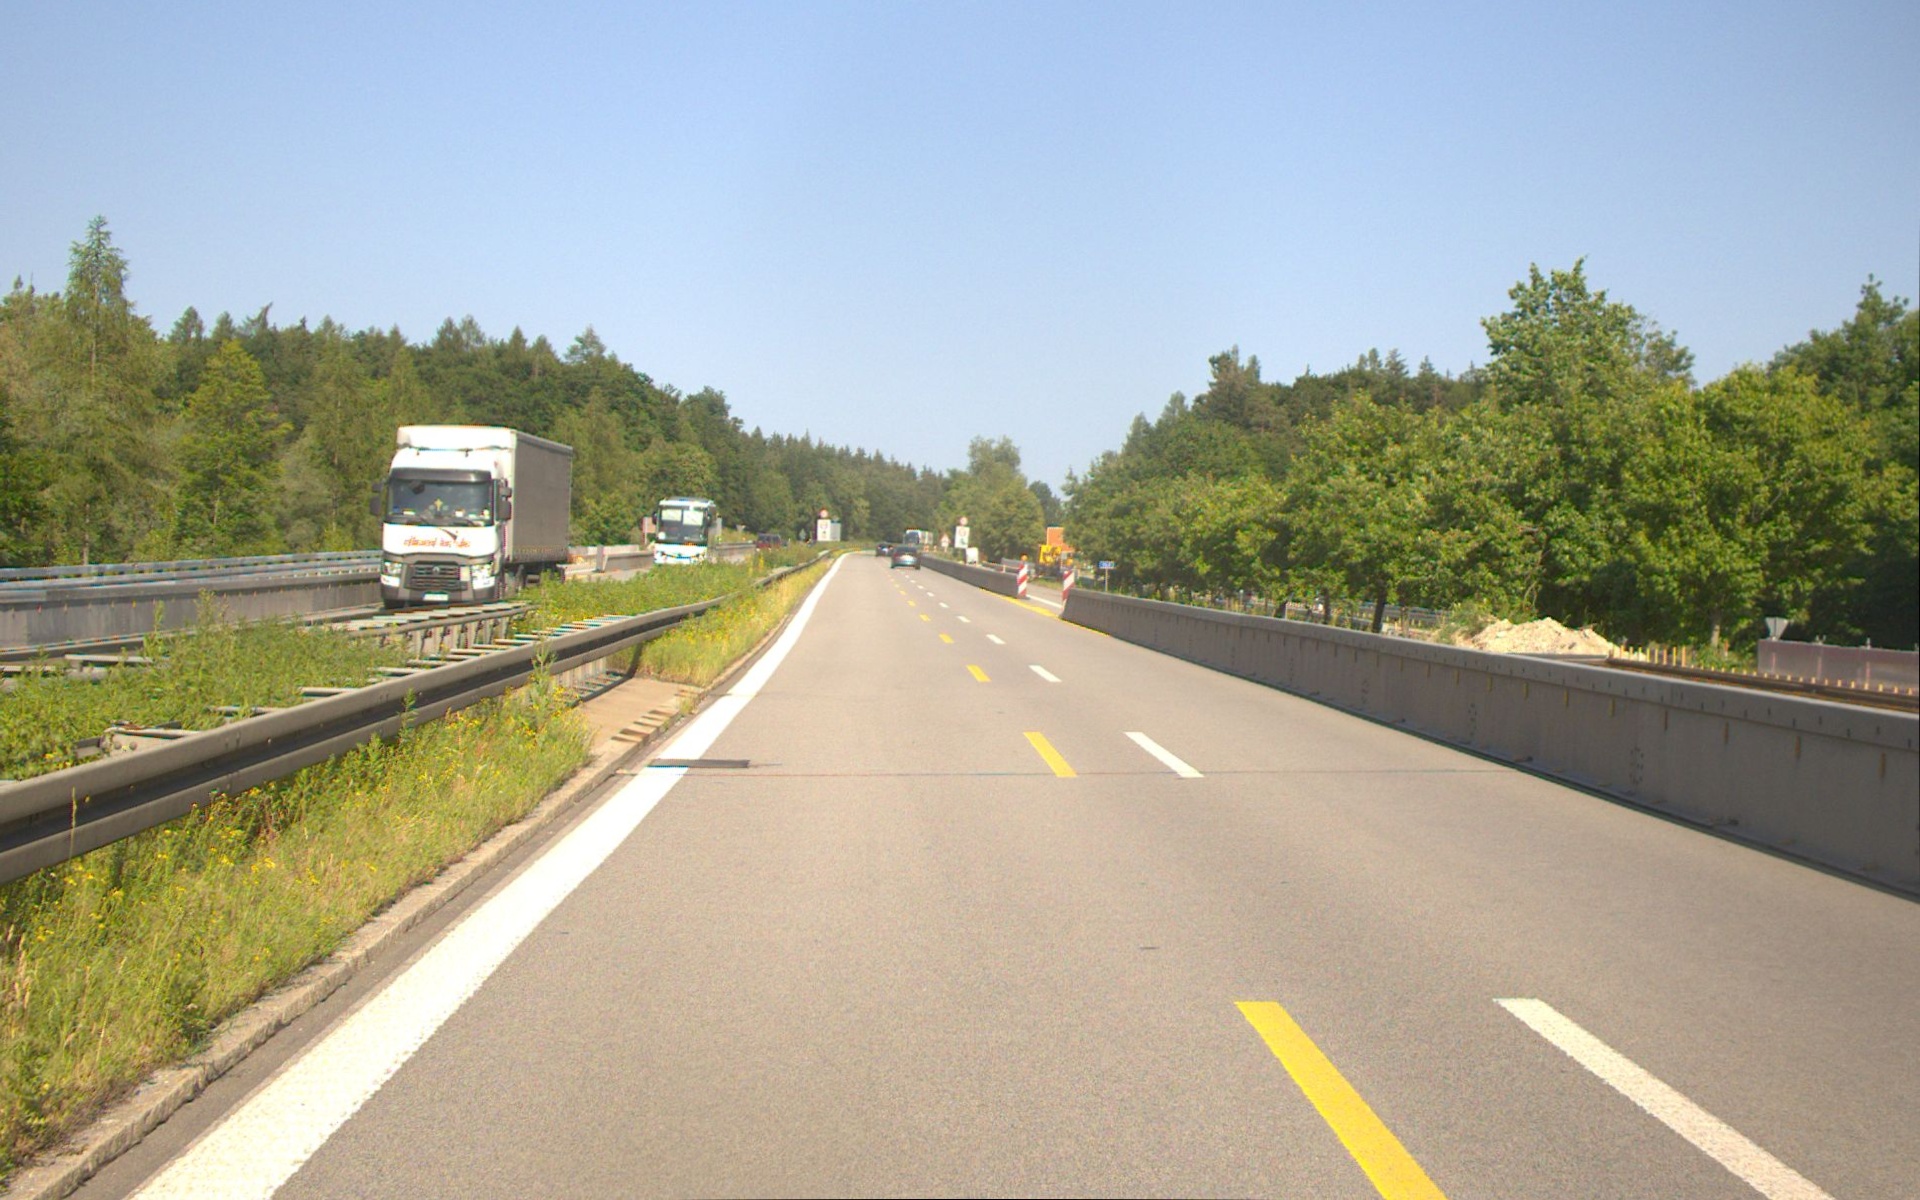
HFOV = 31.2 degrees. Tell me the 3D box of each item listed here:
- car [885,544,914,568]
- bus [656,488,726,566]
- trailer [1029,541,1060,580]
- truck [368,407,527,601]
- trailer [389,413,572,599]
[{"bbox_3d":[-3.818,-2.786,217.248,1.744,1.461,4.294,2,1,-2],"label":"car"},{"bbox_3d":[-13.466,-3.660,172.864,2.881,3.658,12.920,3,1,-2],"label":"bus"},{"bbox_3d":[4.215,-1.996,172.506,1.125,1.867,4.001,2,1,-4],"label":"trailer"},{"bbox_3d":[-11.151,-2.061,75.239,2.770,4.074,5.476,0,1,-1],"label":"truck"},{"bbox_3d":[-11.253,-2.156,82.074,2.741,4.056,13.997,0,1,-1],"label":"trailer"}]
